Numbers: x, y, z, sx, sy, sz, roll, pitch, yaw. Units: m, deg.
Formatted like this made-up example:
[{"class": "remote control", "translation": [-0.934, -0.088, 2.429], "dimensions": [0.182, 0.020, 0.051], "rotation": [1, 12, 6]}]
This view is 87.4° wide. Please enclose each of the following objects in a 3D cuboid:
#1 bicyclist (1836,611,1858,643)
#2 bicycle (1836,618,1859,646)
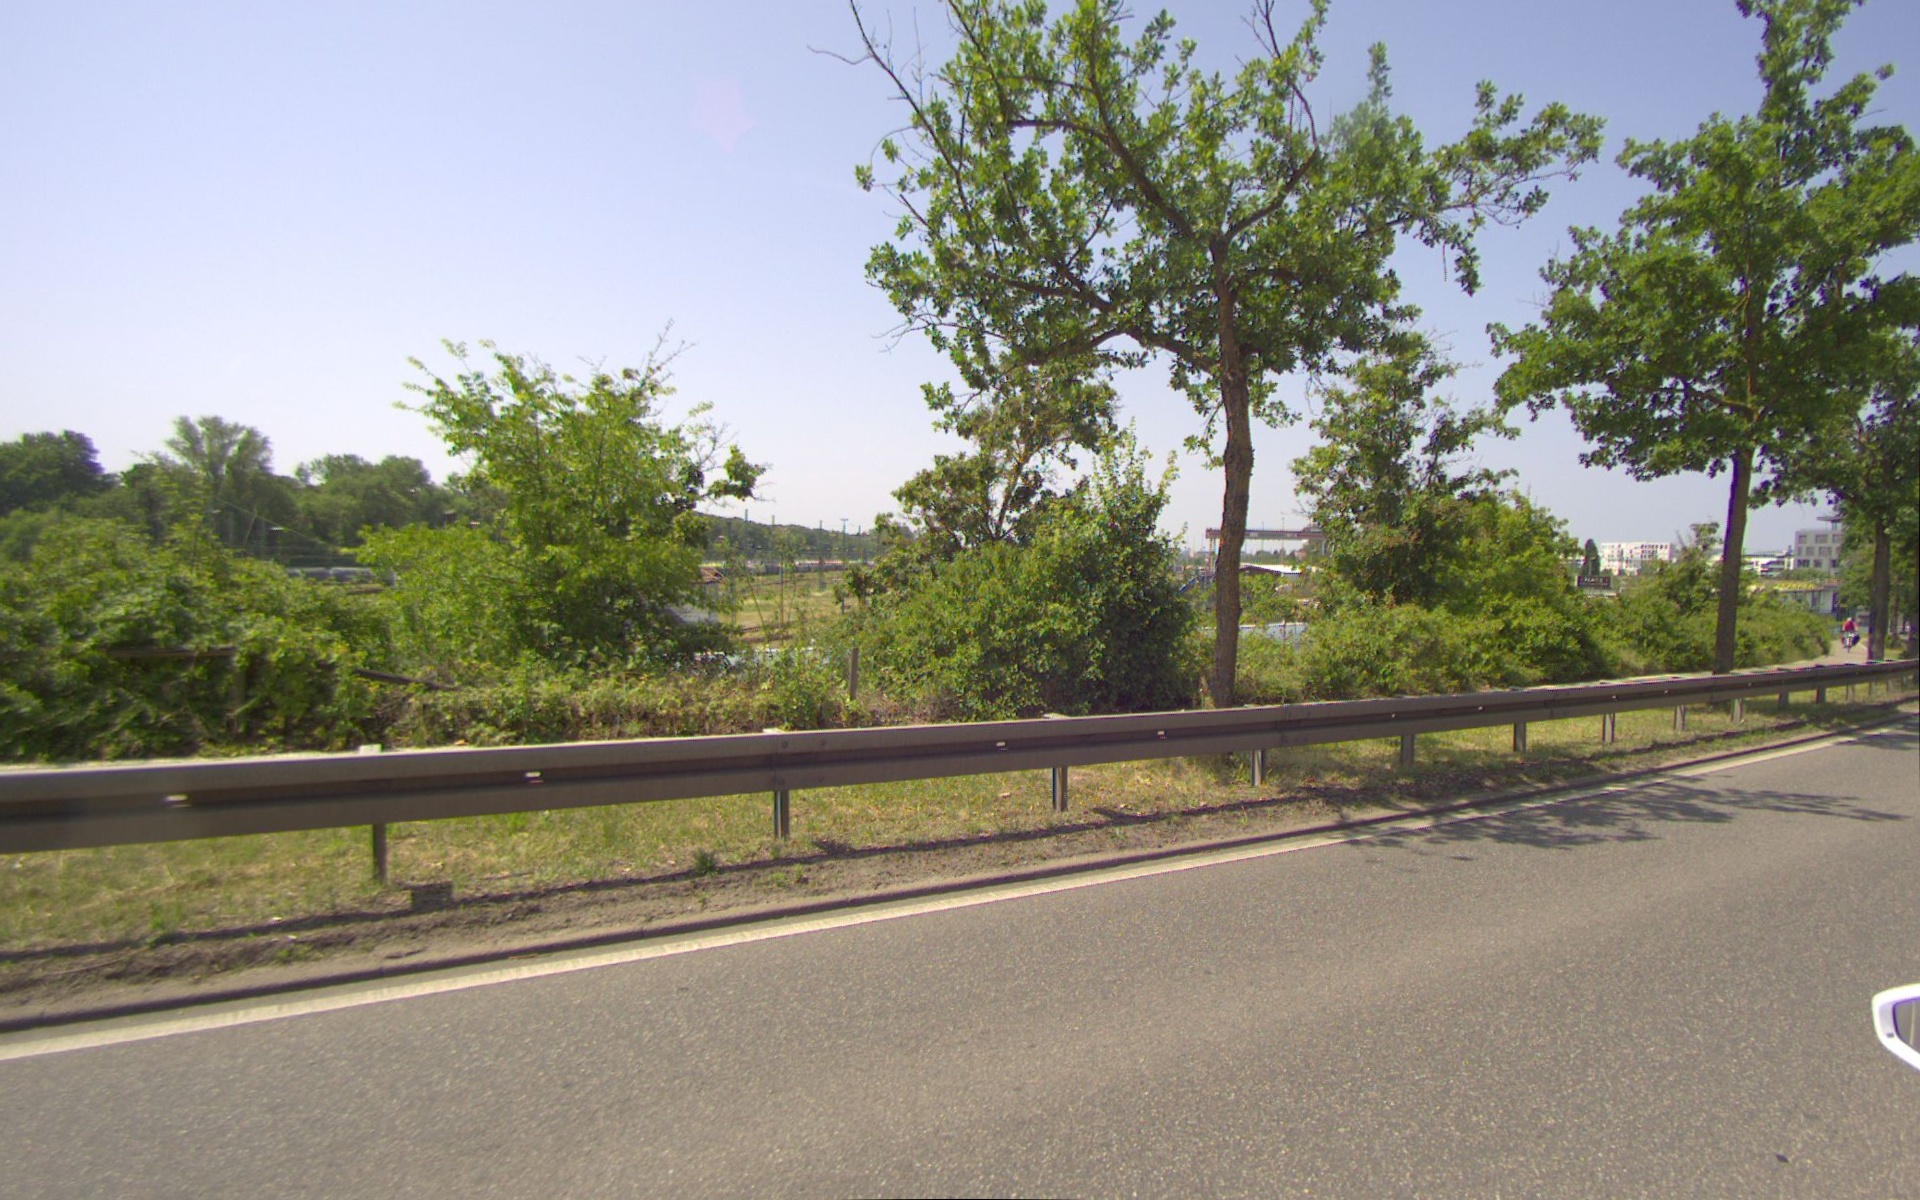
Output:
[{"class": "bicyclist", "translation": [43.314, 1.323, 49.032], "dimensions": [0.733, 1.509, 0.753], "rotation": [2, 1, 40]}, {"class": "bicycle", "translation": [43.263, 1.547, 48.994], "dimensions": [0.725, 1.298, 2.036], "rotation": [2, 0, 40]}]
